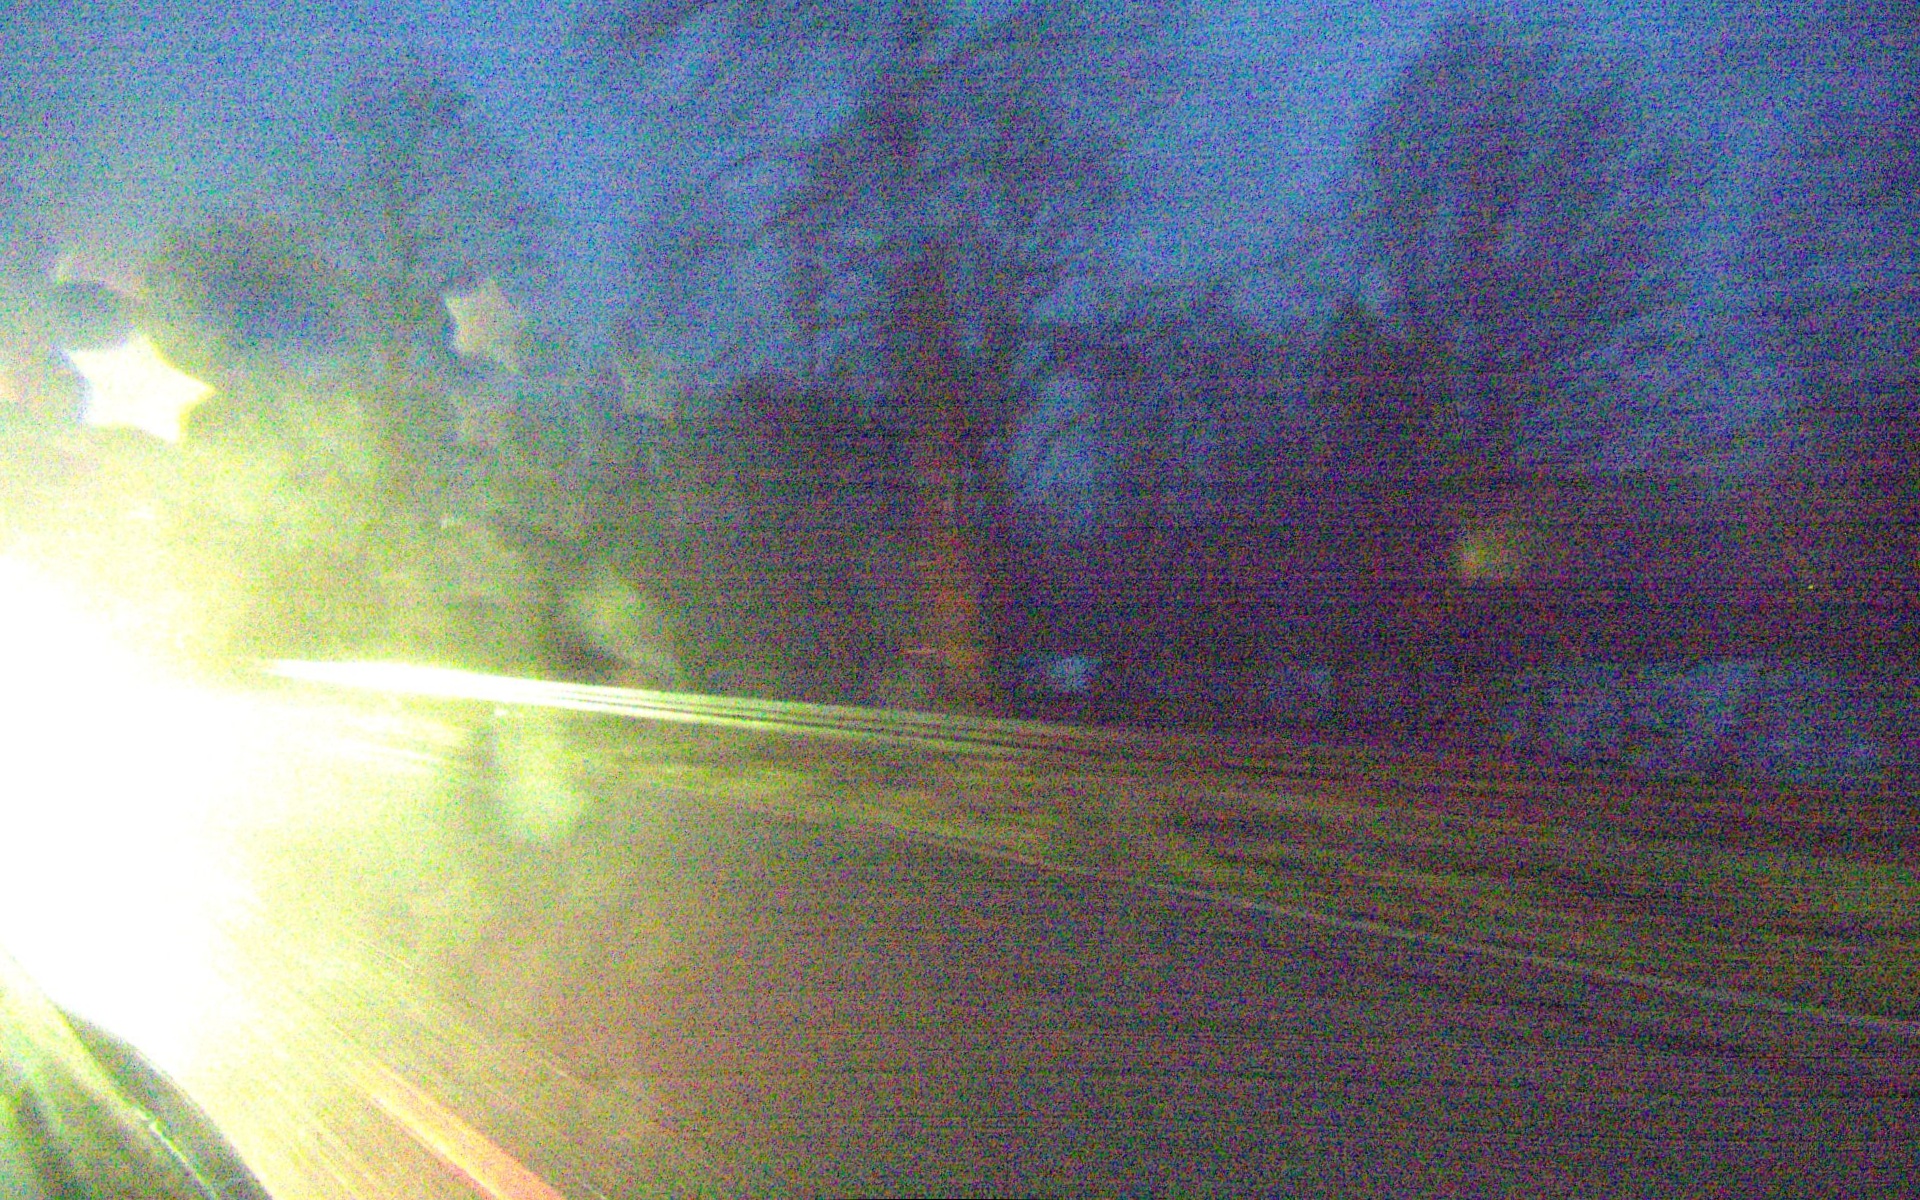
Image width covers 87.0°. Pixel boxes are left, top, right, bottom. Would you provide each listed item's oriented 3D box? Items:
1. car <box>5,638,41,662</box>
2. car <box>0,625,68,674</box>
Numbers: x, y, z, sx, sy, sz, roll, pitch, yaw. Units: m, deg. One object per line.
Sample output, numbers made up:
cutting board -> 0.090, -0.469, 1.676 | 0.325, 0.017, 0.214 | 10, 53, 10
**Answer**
car -> -62.241, 3.340, 67.287 | 1.575, 1.522, 3.605 | 3, -4, -41
car -> -31.263, 1.672, 34.097 | 1.545, 1.537, 3.488 | 4, -4, -45
